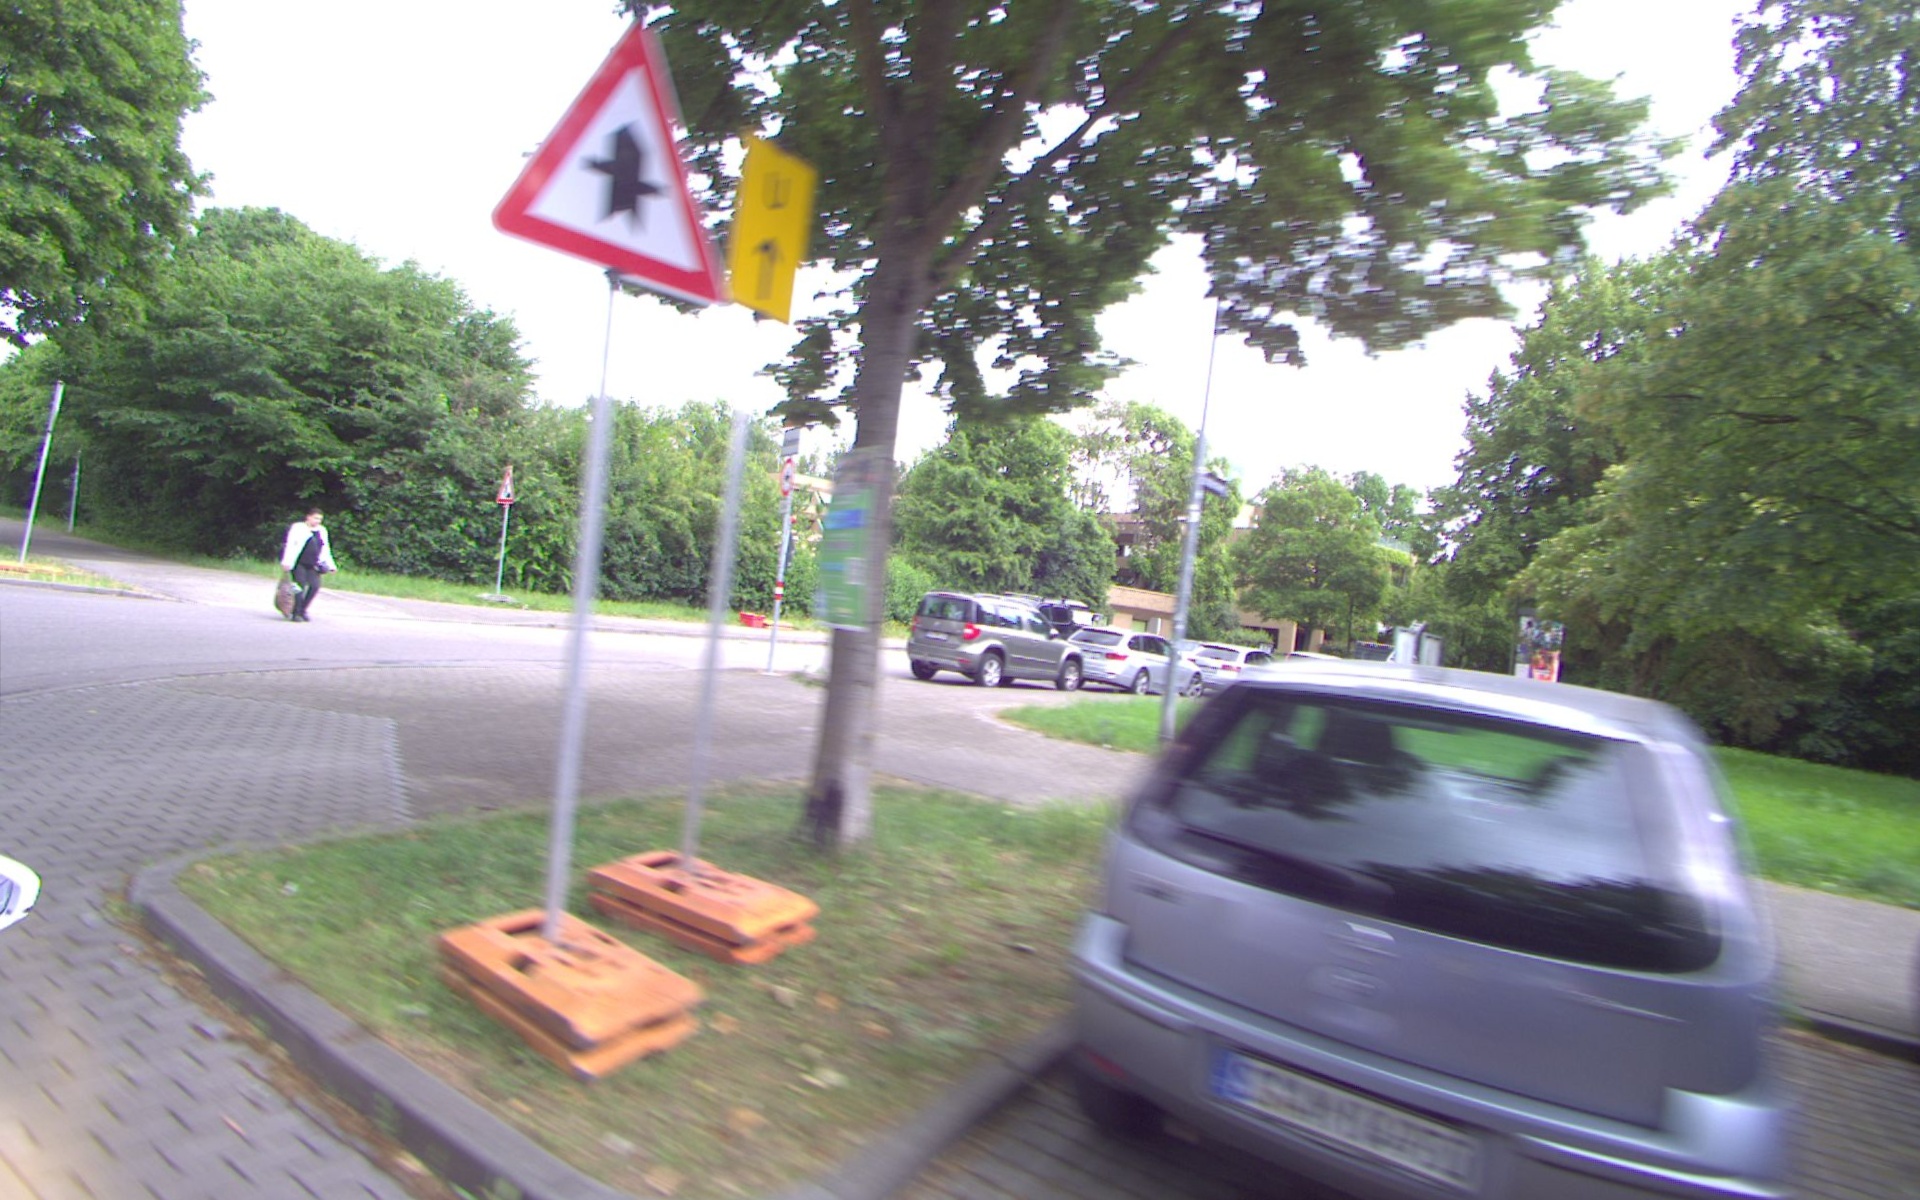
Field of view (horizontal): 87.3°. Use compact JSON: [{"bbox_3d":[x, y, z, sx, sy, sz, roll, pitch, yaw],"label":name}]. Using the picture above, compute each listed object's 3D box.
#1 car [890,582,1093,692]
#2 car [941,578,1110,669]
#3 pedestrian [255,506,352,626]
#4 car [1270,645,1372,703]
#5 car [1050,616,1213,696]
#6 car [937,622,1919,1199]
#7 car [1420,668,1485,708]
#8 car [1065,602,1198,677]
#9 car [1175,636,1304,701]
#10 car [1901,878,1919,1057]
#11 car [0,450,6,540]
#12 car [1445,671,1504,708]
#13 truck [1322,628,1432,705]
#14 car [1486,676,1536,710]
[{"bbox_3d":[0.687,0.743,19.032,1.742,1.689,3.776,7,0,40],"label":"car"},{"bbox_3d":[2.033,0.765,29.422,2.106,2.081,5.317,7,-1,38],"label":"car"},{"bbox_3d":[-9.510,-0.494,14.569,0.797,1.596,0.834,7,0,38],"label":"pedestrian"},{"bbox_3d":[11.826,2.447,32.771,1.678,1.544,4.280,7,-1,39],"label":"car"},{"bbox_3d":[4.006,1.318,22.972,1.678,1.445,4.391,7,-1,38],"label":"car"},{"bbox_3d":[1.817,0.947,3.602,1.822,1.421,3.833,6,1,34],"label":"car"},{"bbox_3d":[23.001,4.145,46.913,1.678,1.544,4.280,7,-1,39],"label":"car"},{"bbox_3d":[6.069,1.425,35.102,2.106,2.081,5.317,7,-1,38],"label":"car"},{"bbox_3d":[7.803,1.929,27.820,1.678,1.445,4.426,7,-1,39],"label":"car"},{"bbox_3d":[3.848,1.032,2.195,1.949,1.671,4.122,7,1,36],"label":"car"},{"bbox_3d":[-22.709,-2.436,20.087,1.817,1.997,4.973,7,1,33],"label":"car"},{"bbox_3d":[26.080,4.544,50.891,1.678,1.544,4.280,7,-1,39],"label":"car"},{"bbox_3d":[15.836,2.580,38.009,2.160,2.455,5.503,7,-1,39],"label":"truck"},{"bbox_3d":[32.534,5.504,59.350,1.678,1.649,4.280,7,-1,39],"label":"car"}]
